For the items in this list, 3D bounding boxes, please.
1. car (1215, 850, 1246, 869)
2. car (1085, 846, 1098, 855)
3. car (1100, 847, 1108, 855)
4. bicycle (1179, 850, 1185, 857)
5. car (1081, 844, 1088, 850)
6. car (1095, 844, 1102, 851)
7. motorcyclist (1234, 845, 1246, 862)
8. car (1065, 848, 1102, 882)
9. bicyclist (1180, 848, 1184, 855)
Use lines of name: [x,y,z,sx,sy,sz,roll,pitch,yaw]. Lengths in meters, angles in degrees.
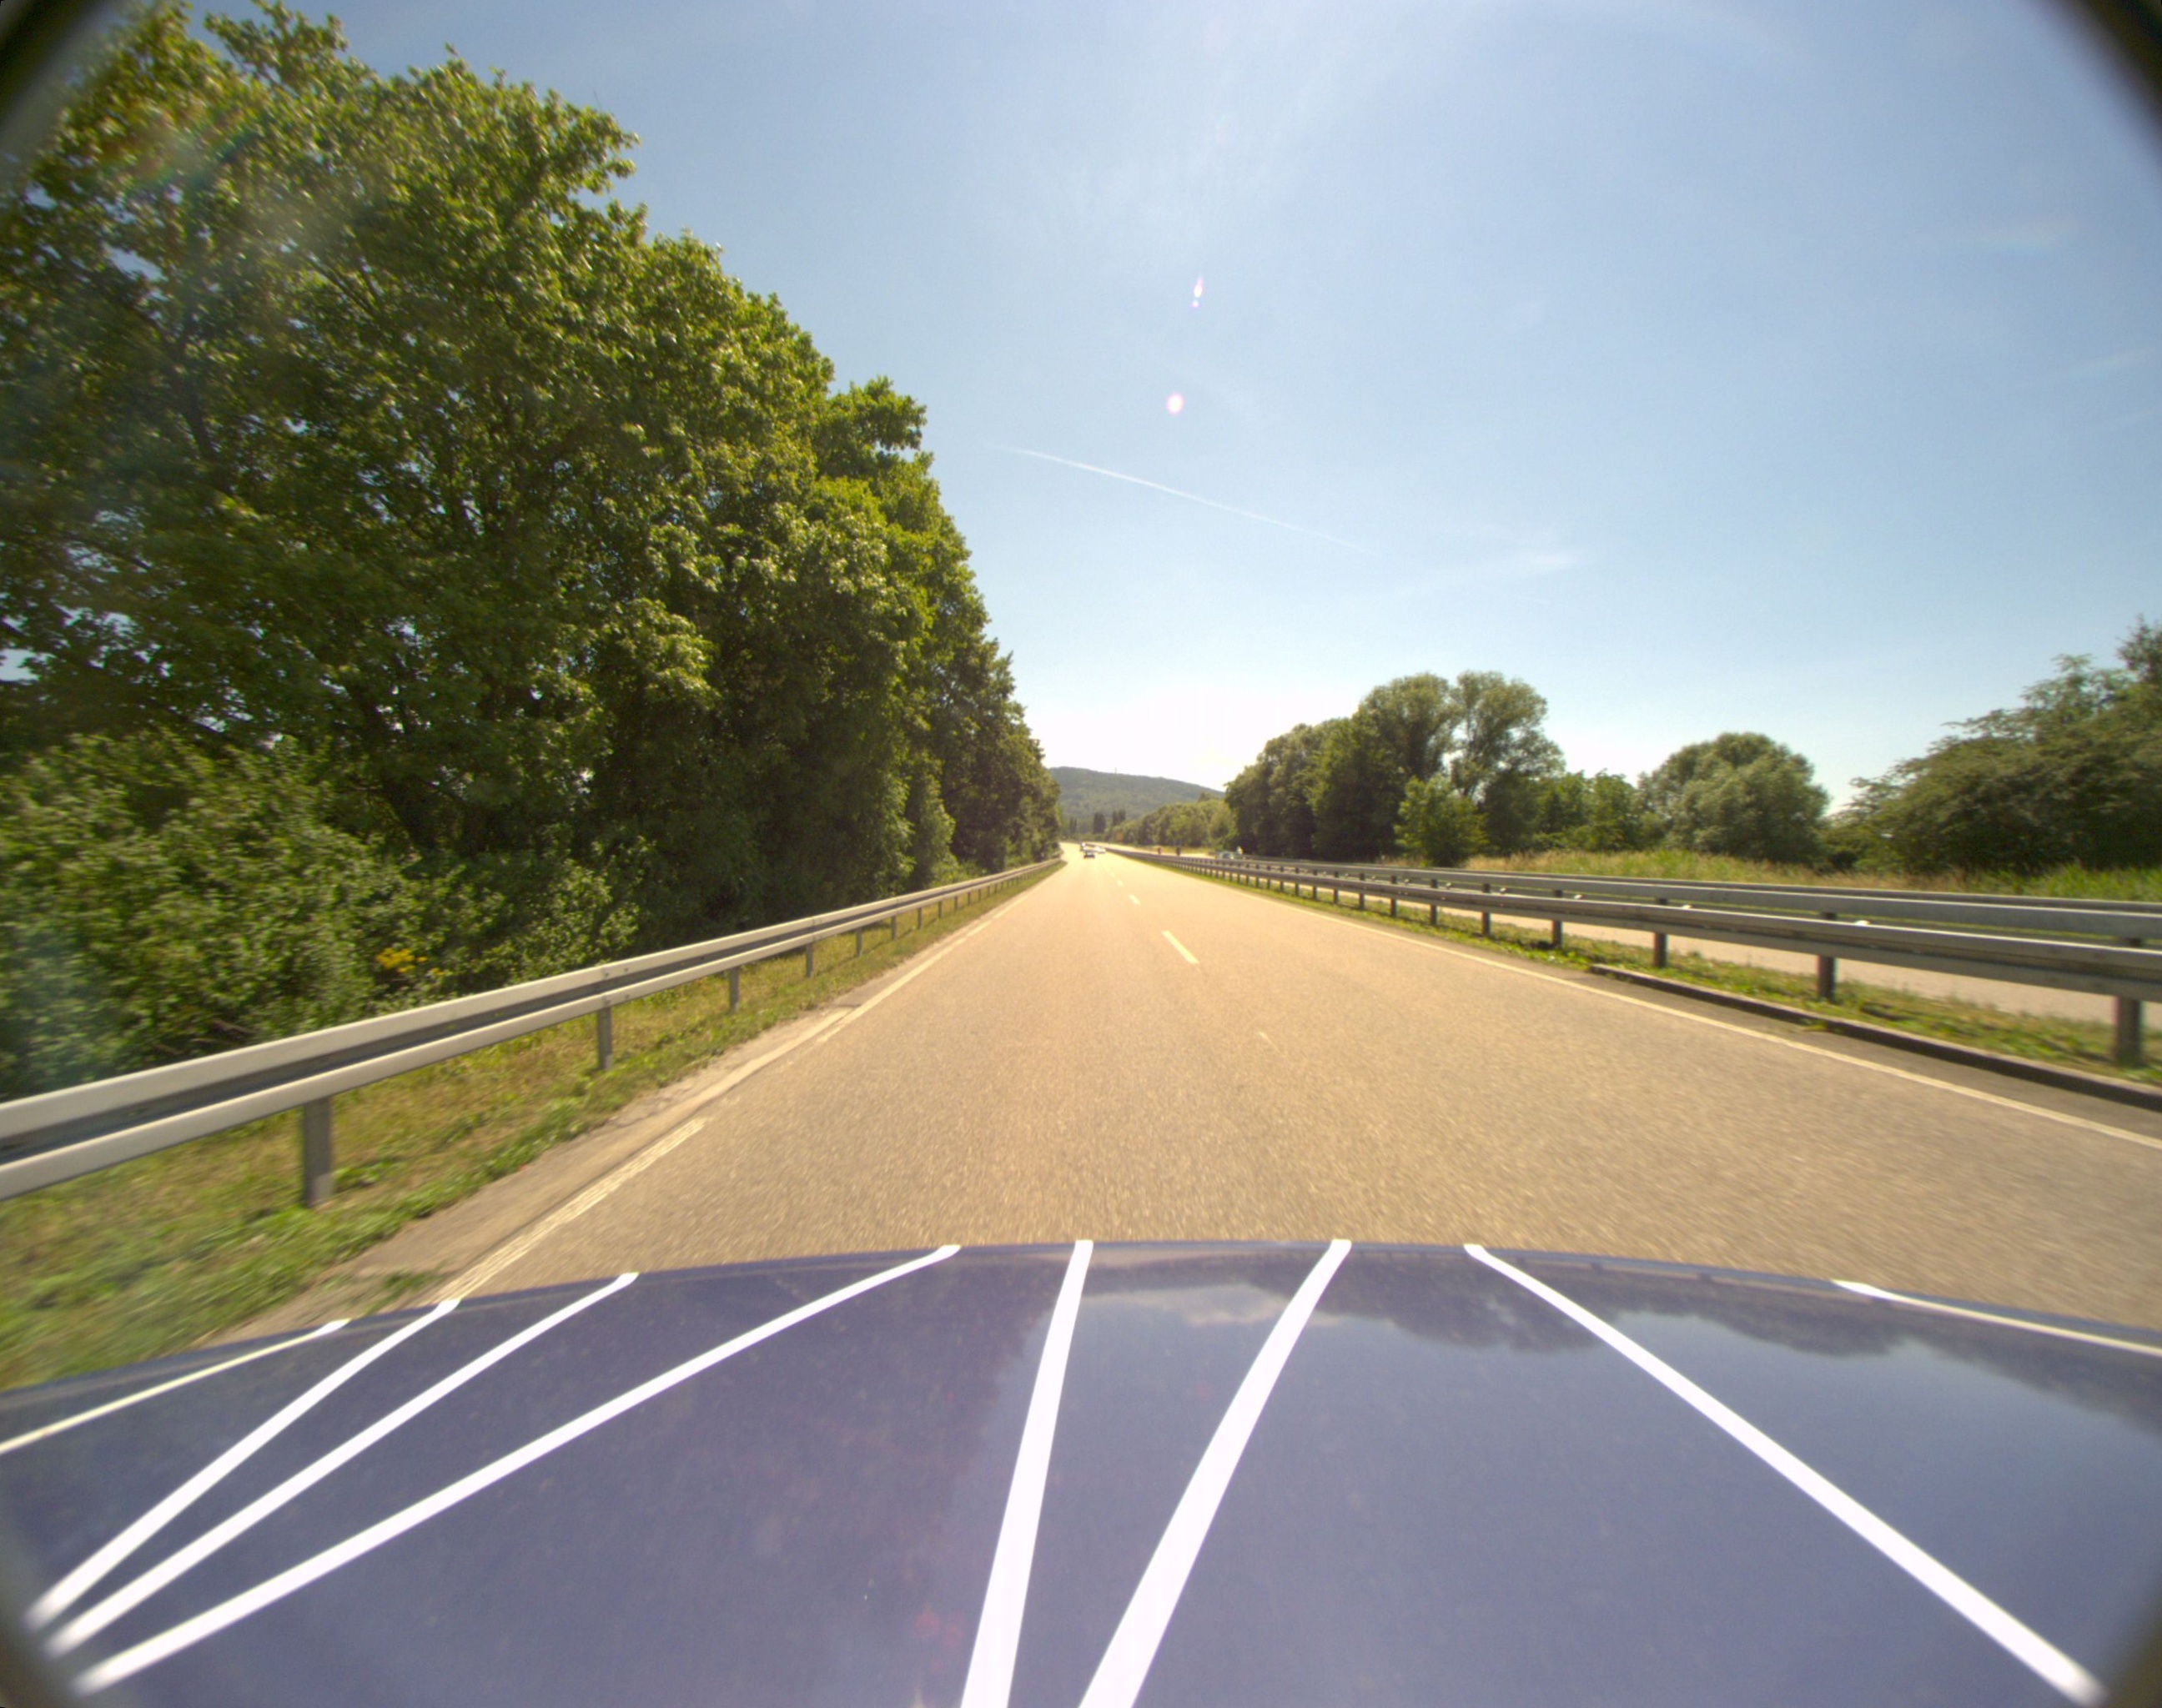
car: [10.968,0.399,55.908,1.632,1.324,3.535,-1,1,1]
car: [1.780,-0.671,125.797,1.908,1.368,3.891,-1,1,3]
car: [5.482,-0.727,181.863,1.908,1.687,3.891,-1,1,3]
bicycle: [16.771,-0.068,126.161,0.615,1.151,2.280,-1,1,1]
car: [1.098,-1.980,227.120,1.908,1.687,3.891,-1,1,3]
car: [4.827,-1.834,212.214,1.908,1.687,3.891,-1,1,3]
motorcyclist: [15.817,-0.040,75.541,0.947,1.608,0.809,0,1,0]
car: [0.112,0.543,41.020,1.862,1.662,3.998,-1,2,0]
bicyclist: [16.749,-0.427,126.138,0.615,1.270,0.608,-1,1,1]
